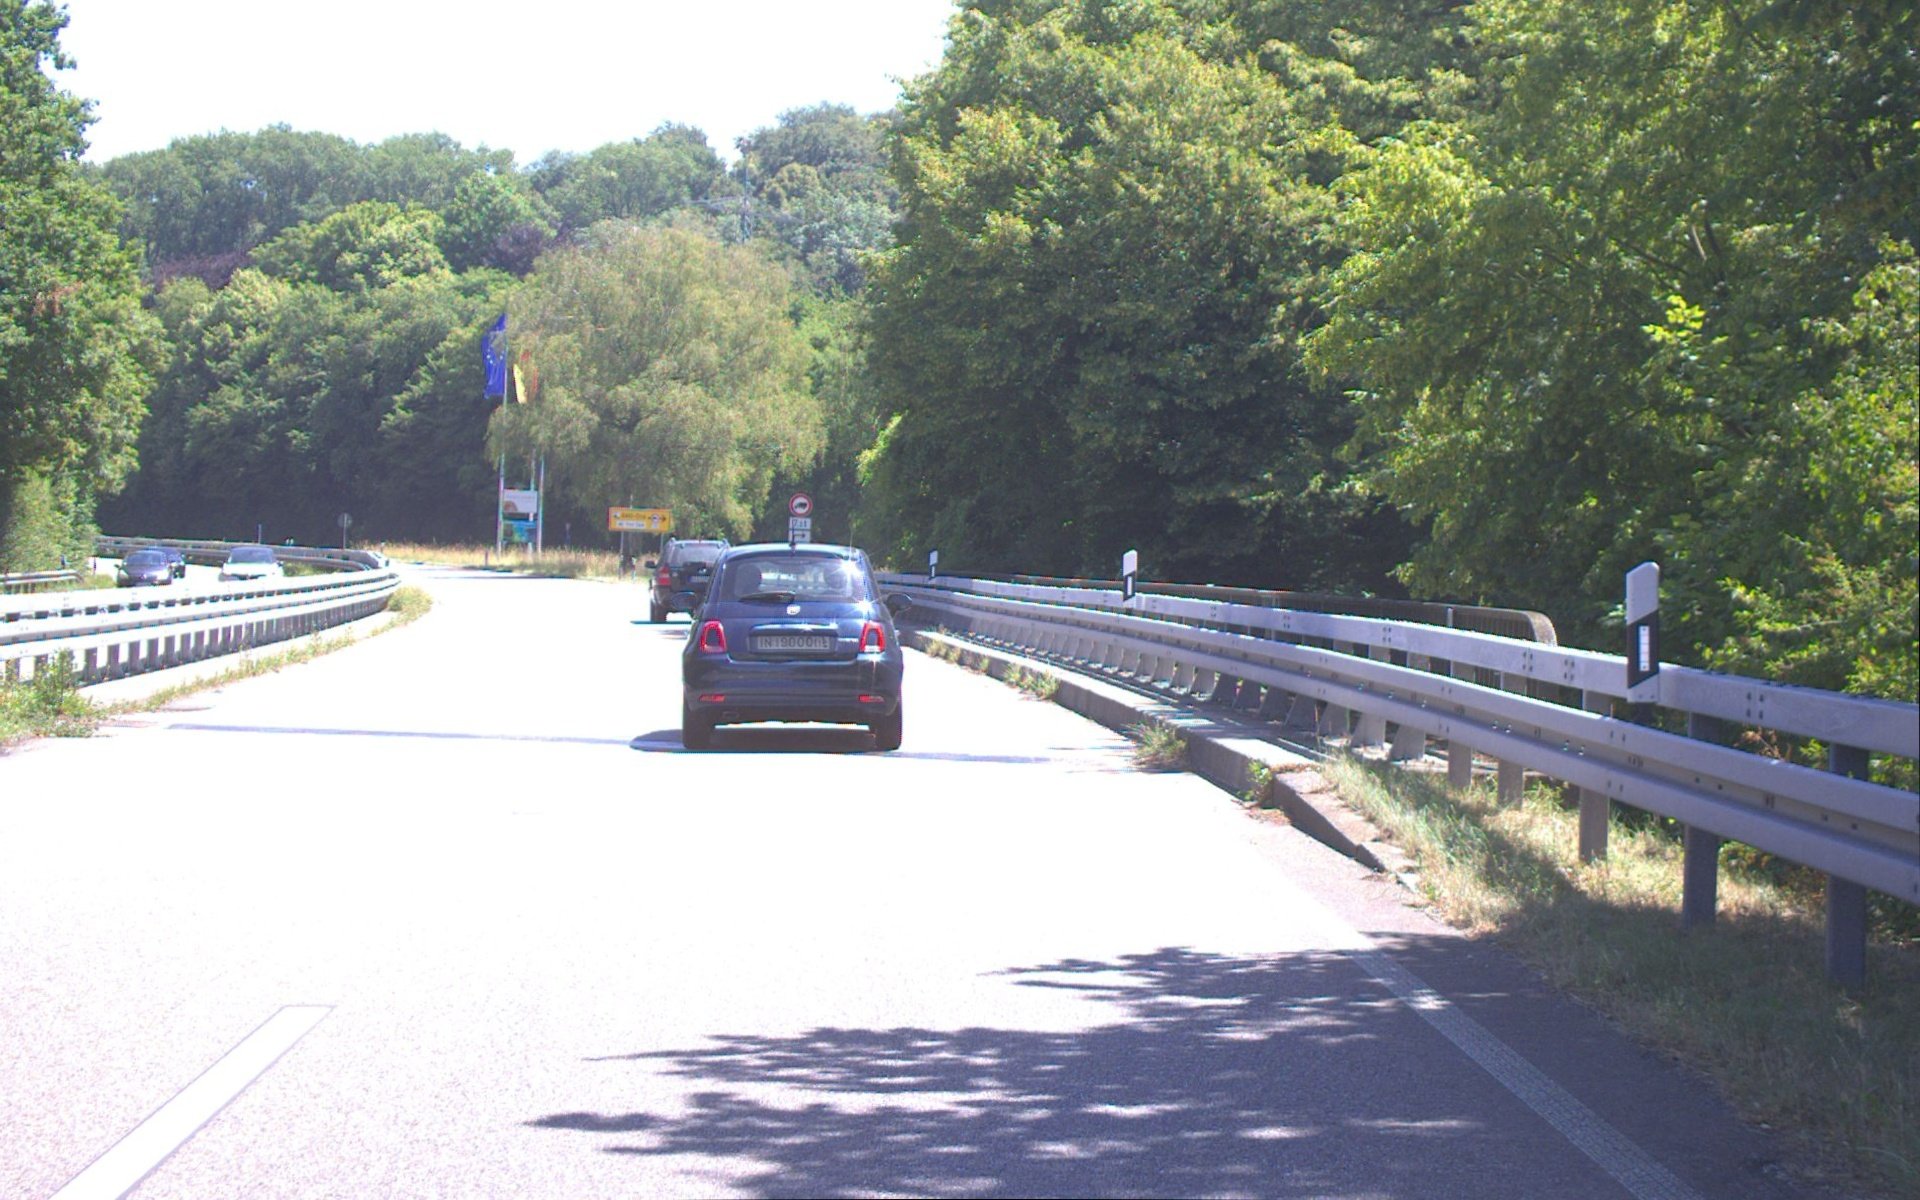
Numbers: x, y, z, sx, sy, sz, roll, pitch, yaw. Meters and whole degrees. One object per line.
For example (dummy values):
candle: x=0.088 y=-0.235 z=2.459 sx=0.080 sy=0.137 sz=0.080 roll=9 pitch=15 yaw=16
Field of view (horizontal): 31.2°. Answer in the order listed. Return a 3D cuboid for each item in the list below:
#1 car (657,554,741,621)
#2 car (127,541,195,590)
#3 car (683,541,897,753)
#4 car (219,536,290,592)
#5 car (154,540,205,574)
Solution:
car: x=-5.280 y=-0.262 z=69.236 sx=1.525 sy=1.309 sz=3.416 roll=0 pitch=1 yaw=-7
car: x=-25.339 y=-1.117 z=109.113 sx=1.651 sy=1.523 sz=3.999 roll=0 pitch=1 yaw=-6
car: x=-1.256 y=0.306 z=26.076 sx=1.513 sy=1.496 sz=3.590 roll=0 pitch=1 yaw=-2
car: x=-20.771 y=-1.076 z=101.343 sx=1.651 sy=1.601 sz=4.220 roll=0 pitch=1 yaw=-6
car: x=-35.922 y=-1.994 z=158.249 sx=1.755 sy=1.523 sz=4.685 roll=0 pitch=1 yaw=-6
